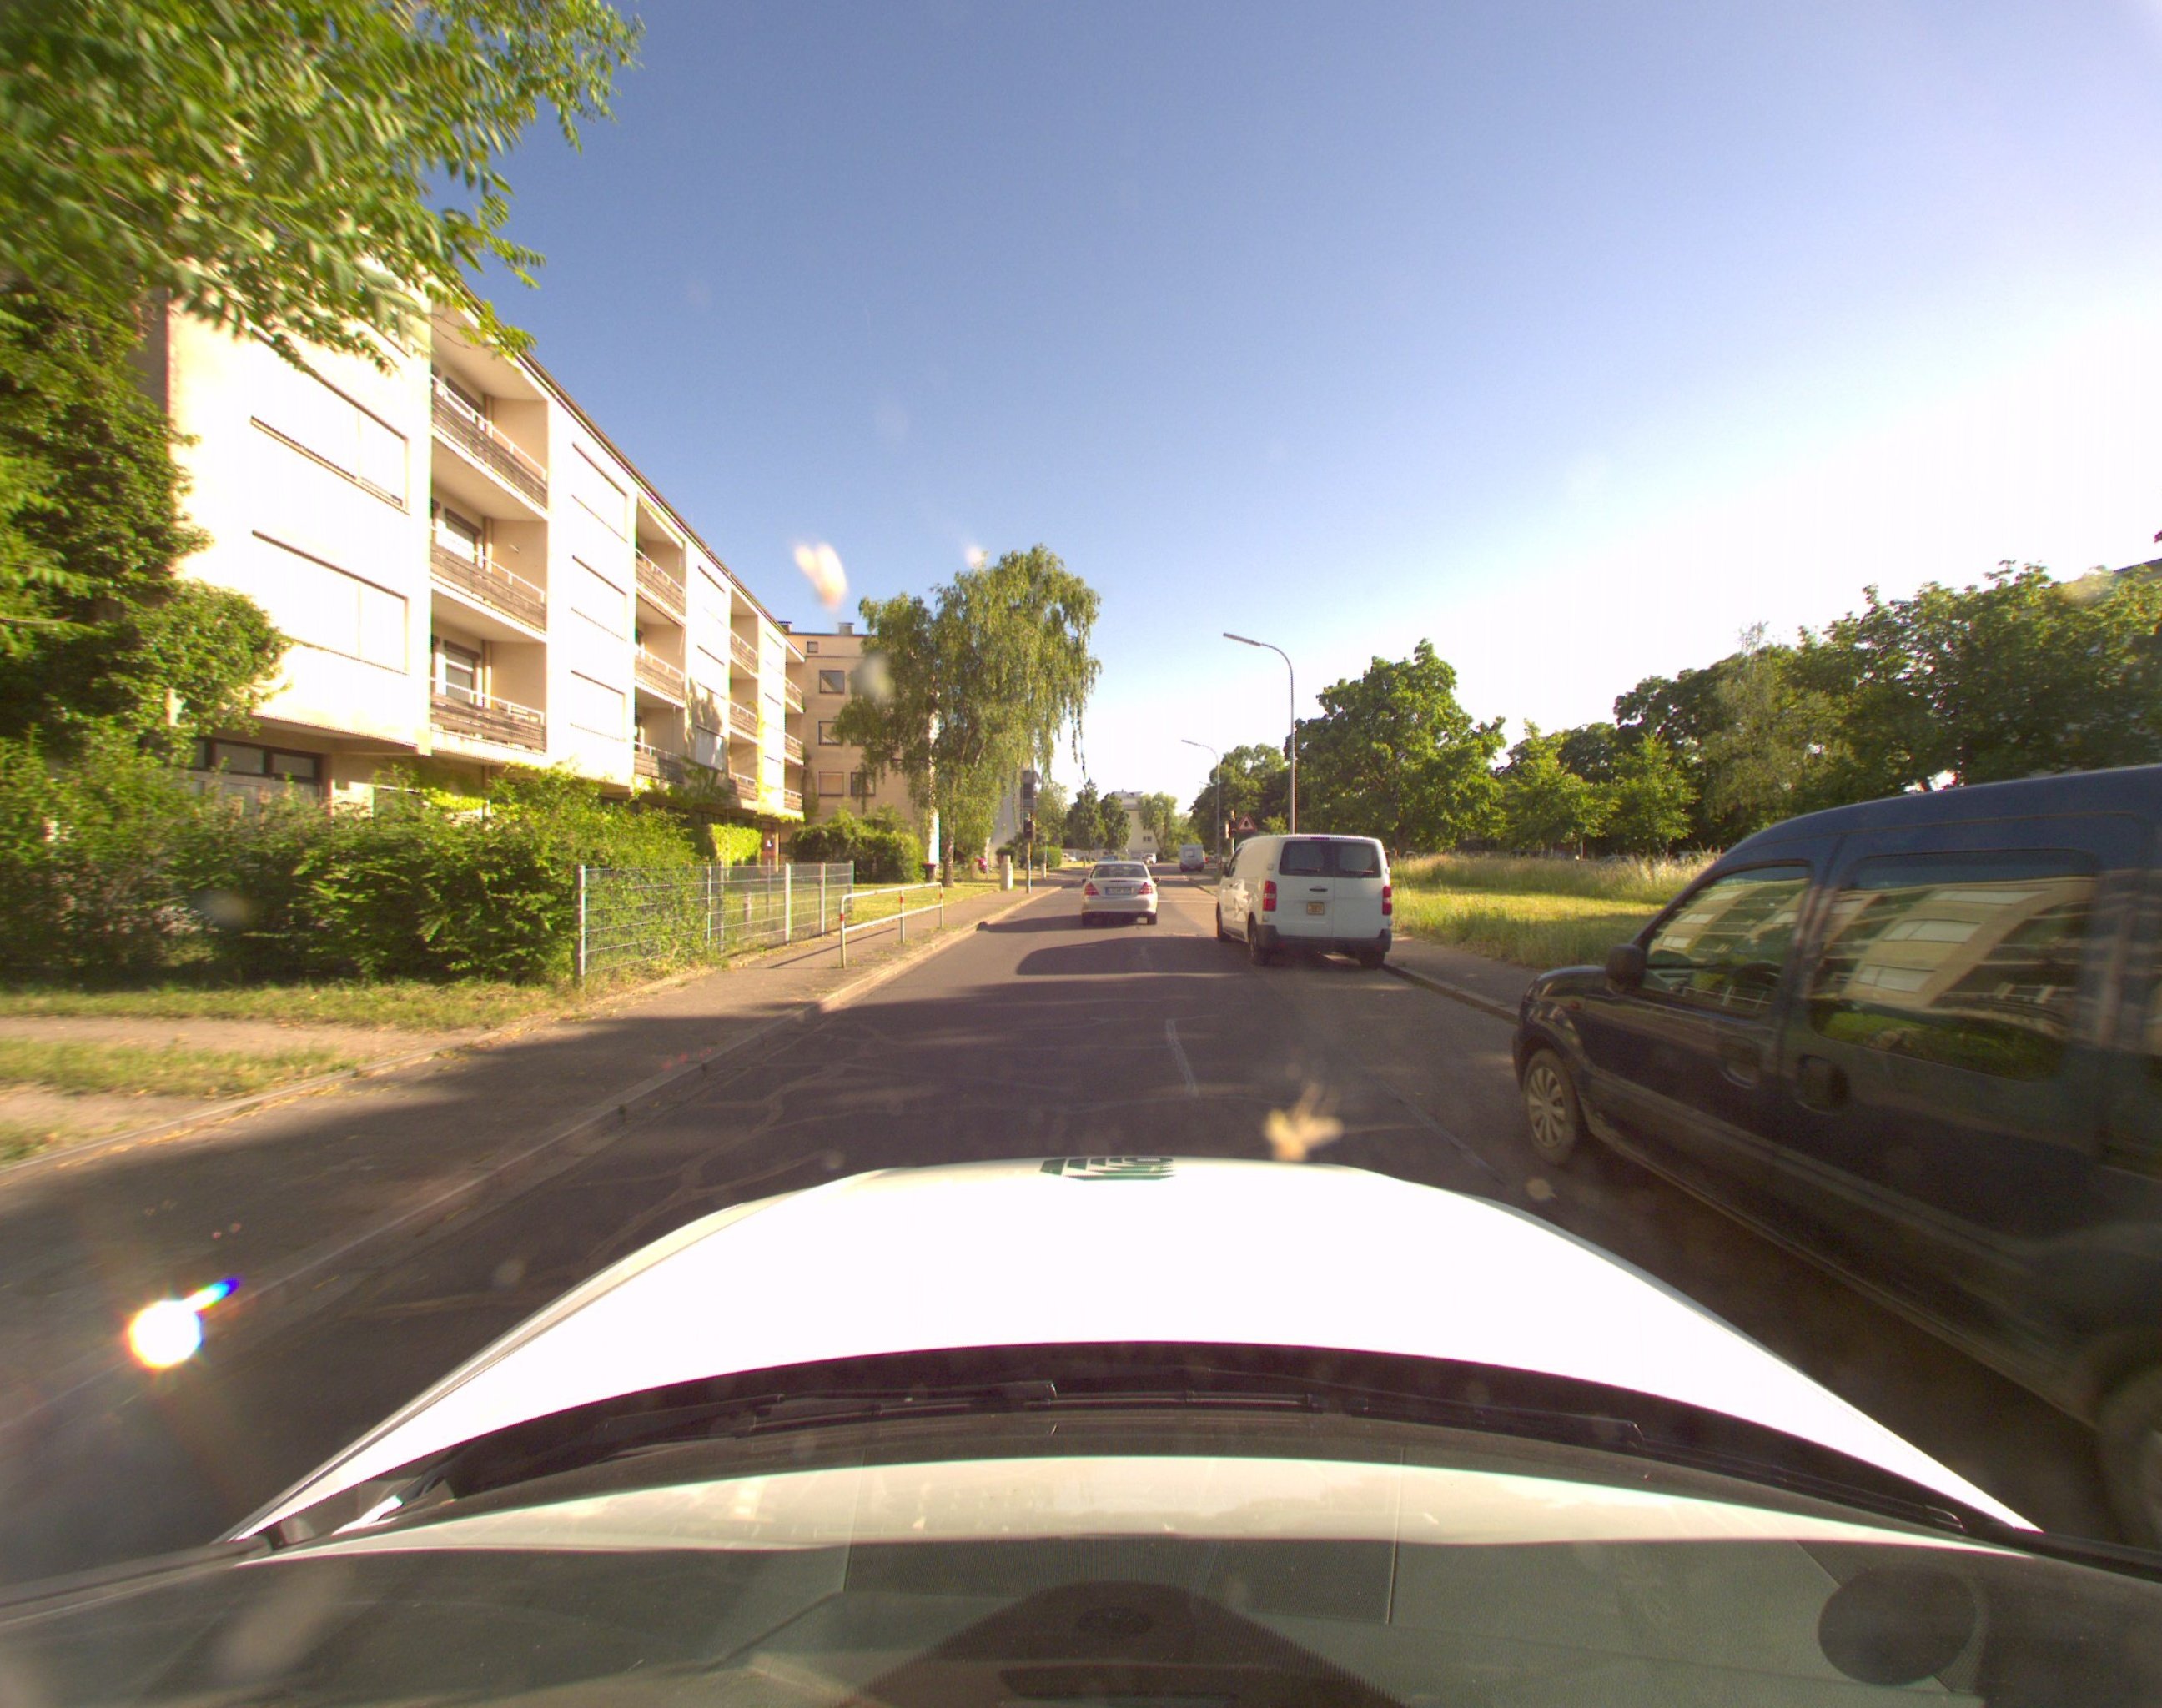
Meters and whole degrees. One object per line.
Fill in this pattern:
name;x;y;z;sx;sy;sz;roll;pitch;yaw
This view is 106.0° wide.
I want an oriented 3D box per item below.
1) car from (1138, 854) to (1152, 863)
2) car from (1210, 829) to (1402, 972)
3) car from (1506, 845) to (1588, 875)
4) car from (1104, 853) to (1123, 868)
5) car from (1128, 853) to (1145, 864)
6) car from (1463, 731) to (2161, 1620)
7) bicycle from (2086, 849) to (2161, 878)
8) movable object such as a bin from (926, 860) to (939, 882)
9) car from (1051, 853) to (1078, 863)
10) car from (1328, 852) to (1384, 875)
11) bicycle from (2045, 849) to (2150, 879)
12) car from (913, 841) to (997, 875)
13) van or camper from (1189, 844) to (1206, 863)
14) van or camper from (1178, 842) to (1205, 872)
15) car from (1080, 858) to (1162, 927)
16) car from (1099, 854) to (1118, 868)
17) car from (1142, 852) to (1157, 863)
car;10.650;0.740;135.711;1.821;1.518;4.234;2;0;11
car;3.384;0.619;13.300;1.908;1.871;4.867;1;0;2
car;32.026;0.408;56.126;4.473;2.012;2.282;0;0;13
car;3.799;0.708;94.544;1.904;1.603;4.821;2;0;6
car;8.422;0.678;123.045;2.022;1.492;5.271;2;0;10
car;3.031;0.632;2.814;1.690;1.730;4.087;1;0;3
bicycle;44.874;0.394;34.544;0.941;1.205;2.677;0;0;-21
movable object such as a bin;-7.189;0.812;39.431;0.564;1.053;0.554;0;-1;-18
car;-3.339;0.785;167.454;5.065;1.951;2.247;-1;0;18
car;19.749;0.663;58.594;3.659;1.578;1.835;0;0;12
bicycle;43.736;0.416;35.102;0.941;1.205;2.677;0;0;-21
car;-9.589;0.291;62.175;5.877;2.428;2.216;-1;1;4
van or camper;18.361;-0.033;128.070;2.481;2.845;6.869;-1;0;10
van or camper;10.628;0.298;78.430;2.339;2.596;6.438;-3;0;7
car;0.915;0.828;18.997;1.726;1.434;3.440;0;0;2
car;3.026;0.761;88.266;1.637;1.466;4.340;1;0;8
car;11.947;0.652;142.098;2.001;1.885;5.207;1;0;11
